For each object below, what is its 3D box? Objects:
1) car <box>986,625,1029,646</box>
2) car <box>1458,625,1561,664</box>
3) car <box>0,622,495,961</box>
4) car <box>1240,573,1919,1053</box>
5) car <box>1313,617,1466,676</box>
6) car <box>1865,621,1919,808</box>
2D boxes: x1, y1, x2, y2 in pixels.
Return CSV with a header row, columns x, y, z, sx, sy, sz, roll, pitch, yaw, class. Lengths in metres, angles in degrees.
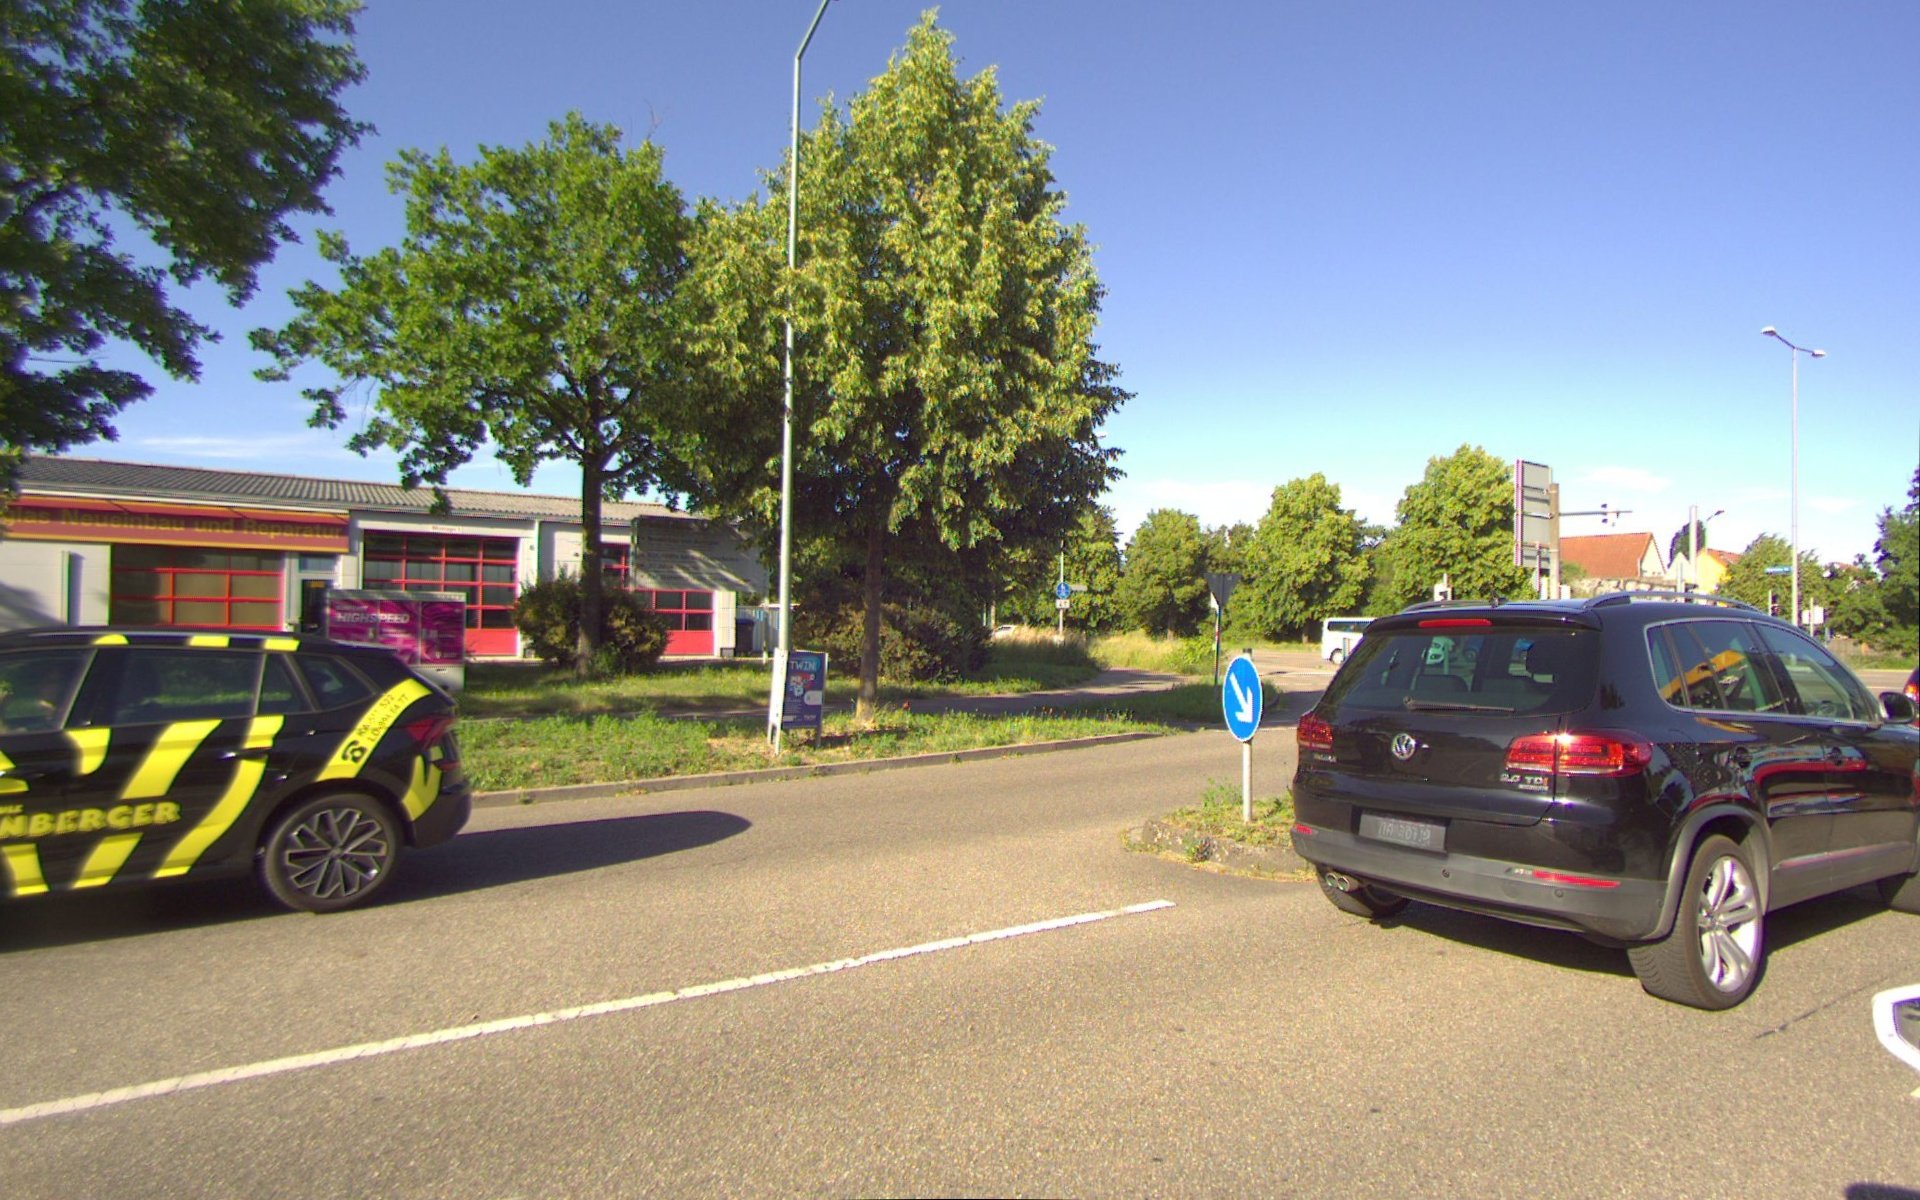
x,y,z,sx,sy,sz,roll,pitch,yaw,class
4.021,3.014,86.101,1.691,1.634,3.781,2,0,-35,car
23.755,1.908,43.497,1.733,1.581,3.559,2,-2,-35,car
-4.850,0.907,5.359,4.042,1.546,1.751,2,-3,-36,car
3.552,0.822,5.314,3.954,1.675,1.763,1,-3,-31,car
17.238,1.799,40.602,2.160,2.146,5.350,2,-1,-35,car
10.229,1.007,9.215,3.954,1.610,1.753,1,-3,-31,car
